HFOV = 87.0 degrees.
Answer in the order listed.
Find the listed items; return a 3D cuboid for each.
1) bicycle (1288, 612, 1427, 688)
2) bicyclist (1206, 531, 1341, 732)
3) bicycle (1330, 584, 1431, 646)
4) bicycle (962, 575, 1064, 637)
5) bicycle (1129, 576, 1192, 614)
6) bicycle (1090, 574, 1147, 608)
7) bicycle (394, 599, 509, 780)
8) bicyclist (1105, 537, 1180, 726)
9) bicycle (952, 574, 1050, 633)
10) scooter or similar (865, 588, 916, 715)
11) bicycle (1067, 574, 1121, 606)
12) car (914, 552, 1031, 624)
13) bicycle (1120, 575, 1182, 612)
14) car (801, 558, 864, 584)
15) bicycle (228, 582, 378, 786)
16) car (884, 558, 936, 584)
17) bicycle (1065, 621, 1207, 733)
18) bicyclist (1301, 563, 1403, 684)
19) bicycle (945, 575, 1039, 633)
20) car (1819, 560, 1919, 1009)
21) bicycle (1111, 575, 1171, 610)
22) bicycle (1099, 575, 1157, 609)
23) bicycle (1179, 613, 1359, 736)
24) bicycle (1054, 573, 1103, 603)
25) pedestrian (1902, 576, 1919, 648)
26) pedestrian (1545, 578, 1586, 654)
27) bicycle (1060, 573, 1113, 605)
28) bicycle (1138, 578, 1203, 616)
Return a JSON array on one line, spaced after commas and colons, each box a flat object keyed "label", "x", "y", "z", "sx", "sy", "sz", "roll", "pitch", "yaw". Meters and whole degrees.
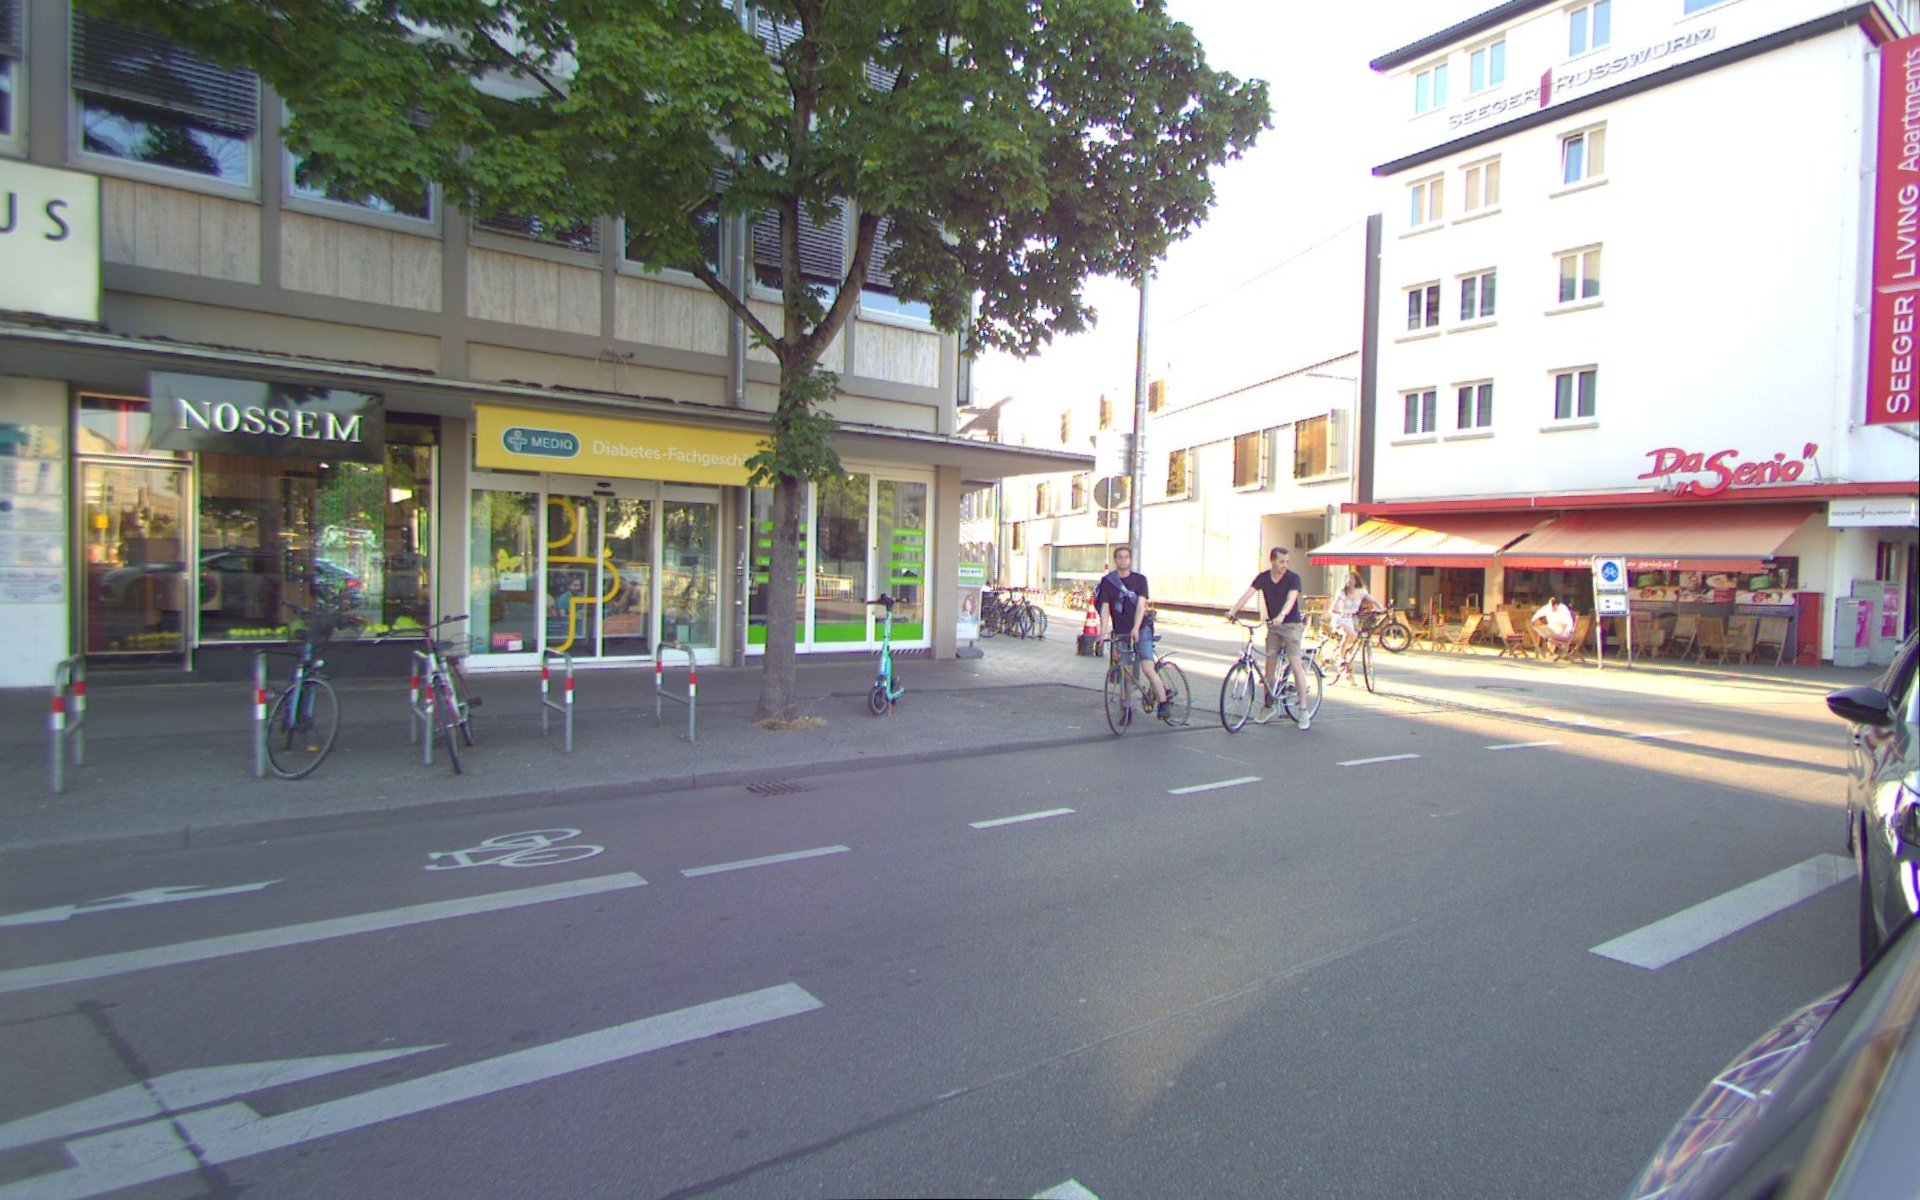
[{"label": "bicycle", "x": 5.567, "y": 0.673, "z": 14.344, "sx": 0.823, "sy": 0.892, "sz": 2.017, "roll": 1, "pitch": 2, "yaw": -13}, {"label": "bicyclist", "x": 3.245, "y": 0.285, "z": 10.464, "sx": 1.095, "sy": 1.941, "sz": 0.839, "roll": 0, "pitch": 2, "yaw": -41}, {"label": "bicycle", "x": 9.700, "y": 0.327, "z": 23.431, "sx": 0.690, "sy": 1.303, "sz": 2.115, "roll": 0, "pitch": 2, "yaw": -33}, {"label": "bicycle", "x": 1.150, "y": 0.128, "z": 22.077, "sx": 2.068, "sy": 1.235, "sz": 0.706, "roll": 2, "pitch": 1, "yaw": -14}, {"label": "bicycle", "x": 7.207, "y": -0.177, "z": 36.342, "sx": 2.068, "sy": 1.235, "sz": 0.706, "roll": 2, "pitch": 1, "yaw": -14}, {"label": "bicycle", "x": 6.318, "y": -0.358, "z": 40.239, "sx": 2.068, "sy": 1.235, "sz": 0.706, "roll": 2, "pitch": 1, "yaw": -14}, {"label": "bicycle", "x": -3.848, "y": 0.600, "z": 7.776, "sx": 0.654, "sy": 1.124, "sz": 2.007, "roll": 1, "pitch": 2, "yaw": -23}, {"label": "bicyclist", "x": 1.853, "y": 0.302, "z": 10.263, "sx": 0.550, "sy": 1.853, "sz": 0.465, "roll": 0, "pitch": 2, "yaw": -45}, {"label": "bicycle", "x": 0.931, "y": 0.076, "z": 23.174, "sx": 2.068, "sy": 1.235, "sz": 0.706, "roll": 2, "pitch": 1, "yaw": -14}, {"label": "scooter or similar", "x": -0.734, "y": 0.516, "z": 10.913, "sx": 0.332, "sy": 1.250, "sz": 1.276, "roll": 2, "pitch": 2, "yaw": 5}, {"label": "bicycle", "x": 5.626, "y": -0.434, "z": 42.456, "sx": 2.068, "sy": 1.235, "sz": 0.706, "roll": 2, "pitch": 1, "yaw": -14}, {"label": "car", "x": 0.249, "y": -0.378, "z": 27.384, "sx": 1.854, "sy": 1.771, "sz": 4.010, "roll": 2, "pitch": 2, "yaw": -19}, {"label": "bicycle", "x": 7.004, "y": -0.244, "z": 37.137, "sx": 2.068, "sy": 1.235, "sz": 0.706, "roll": 2, "pitch": 1, "yaw": -14}, {"label": "car", "x": -8.998, "y": -2.032, "z": 71.598, "sx": 3.929, "sy": 1.731, "sz": 1.998, "roll": 0, "pitch": 2, "yaw": -40}, {"label": "bicycle", "x": -4.735, "y": 0.519, "z": 7.410, "sx": 0.654, "sy": 1.251, "sz": 1.914, "roll": 1, "pitch": 2, "yaw": -25}, {"label": "car", "x": -3.994, "y": -2.296, "z": 80.899, "sx": 3.917, "sy": 2.039, "sz": 2.004, "roll": 0, "pitch": 1, "yaw": -10}, {"label": "bicycle", "x": 1.815, "y": 0.737, "z": 10.250, "sx": 0.465, "sy": 0.982, "sz": 1.771, "roll": 3, "pitch": 2, "yaw": 45}, {"label": "bicyclist", "x": 5.560, "y": 0.304, "z": 14.426, "sx": 0.823, "sy": 1.643, "sz": 1.117, "roll": 1, "pitch": 2, "yaw": -13}, {"label": "bicycle", "x": 0.765, "y": 0.091, "z": 24.456, "sx": 2.068, "sy": 1.235, "sz": 0.706, "roll": 4, "pitch": 1, "yaw": -14}, {"label": "car", "x": 5.250, "y": 0.640, "z": 4.644, "sx": 1.724, "sy": 1.541, "sz": 4.275, "roll": 2, "pitch": 1, "yaw": 37}, {"label": "bicycle", "x": 6.864, "y": -0.285, "z": 38.322, "sx": 2.068, "sy": 1.235, "sz": 0.706, "roll": 2, "pitch": 1, "yaw": -14}, {"label": "bicycle", "x": 6.532, "y": -0.319, "z": 39.379, "sx": 2.068, "sy": 1.235, "sz": 0.706, "roll": 2, "pitch": 1, "yaw": -14}, {"label": "bicycle", "x": 3.229, "y": 0.711, "z": 10.461, "sx": 2.042, "sy": 1.032, "sz": 0.839, "roll": -2, "pitch": 4, "yaw": -42}, {"label": "bicycle", "x": 5.316, "y": -0.535, "z": 45.364, "sx": 2.068, "sy": 1.235, "sz": 0.706, "roll": 2, "pitch": 1, "yaw": -21}, {"label": "pedestrian", "x": 24.091, "y": 0.304, "z": 25.256, "sx": 0.594, "sy": 1.782, "sz": 0.526, "roll": 2, "pitch": 1, "yaw": 10}, {"label": "pedestrian", "x": 12.667, "y": 0.325, "z": 21.174, "sx": 0.563, "sy": 1.560, "sz": 0.573, "roll": 0, "pitch": 2, "yaw": -44}, {"label": "bicycle", "x": 5.403, "y": -0.477, "z": 43.173, "sx": 2.068, "sy": 1.235, "sz": 0.706, "roll": 2, "pitch": 1, "yaw": -14}, {"label": "bicycle", "x": 7.389, "y": -0.117, "z": 35.476, "sx": 2.068, "sy": 1.235, "sz": 0.706, "roll": 2, "pitch": 1, "yaw": -14}]
